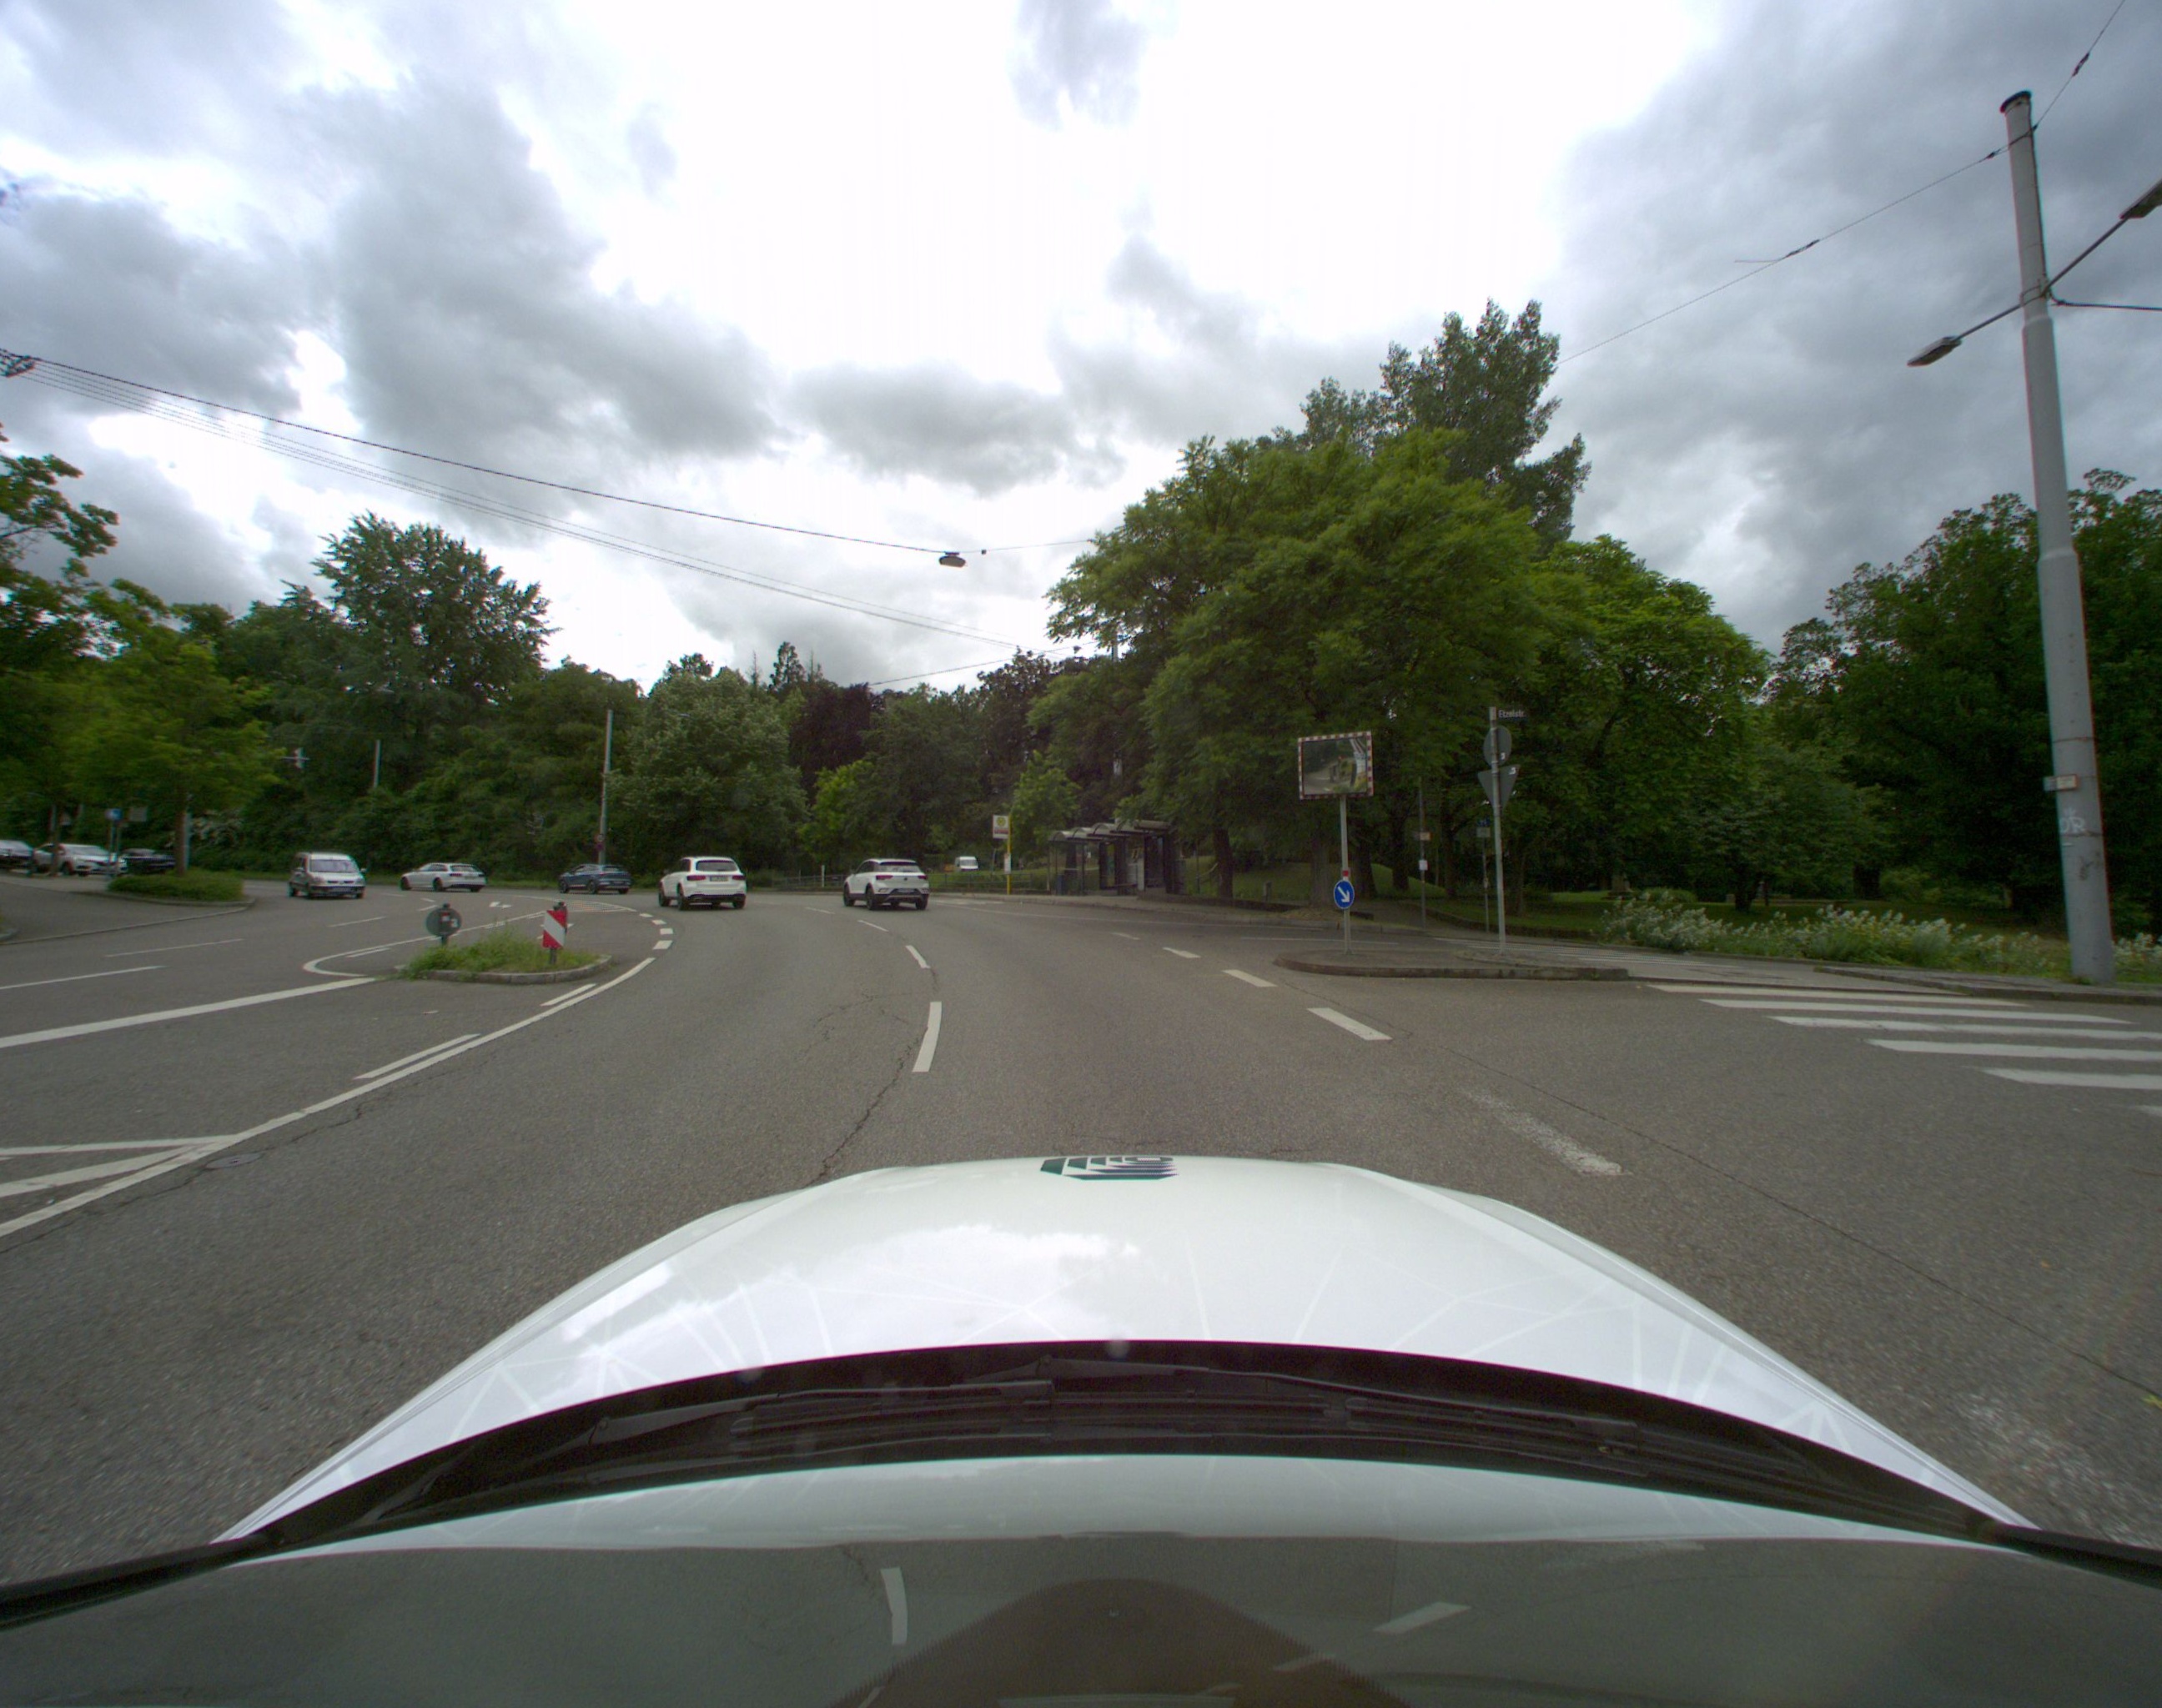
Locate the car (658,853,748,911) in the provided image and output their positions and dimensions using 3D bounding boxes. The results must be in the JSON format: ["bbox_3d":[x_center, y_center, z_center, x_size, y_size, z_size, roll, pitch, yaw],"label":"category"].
[{"bbox_3d":[-12.153,0.812,26.023,1.891,1.652,4.295,0,0,-35],"label":"car"}]

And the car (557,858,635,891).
[{"bbox_3d":[-25.173,1.031,42.246,3.908,1.632,1.878,0,-1,32],"label":"car"}]

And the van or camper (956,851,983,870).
[{"bbox_3d":[-12.138,0.717,88.424,2.306,2.014,5.416,1,-1,-13],"label":"van or camper"}]

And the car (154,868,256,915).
[{"bbox_3d":[-34.053,1.395,31.636,4.319,1.654,1.914,0,-1,32],"label":"car"}]

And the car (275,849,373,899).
[{"bbox_3d":[-29.990,0.752,32.233,3.987,1.830,1.930,0,-1,34],"label":"car"}]

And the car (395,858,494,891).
[{"bbox_3d":[-32.361,1.043,41.419,4.254,1.519,2.267,1,-3,26],"label":"car"}]

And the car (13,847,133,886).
[{"bbox_3d":[-49.137,0.595,39.725,4.707,1.791,1.910,1,-1,16],"label":"car"}]

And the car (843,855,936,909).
[{"bbox_3d":[-6.116,0.823,25.744,1.876,1.556,3.858,1,0,-29],"label":"car"}]

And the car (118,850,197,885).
[{"bbox_3d":[-55.414,0.763,48.876,3.952,2.013,2.011,0,0,23],"label":"car"}]
